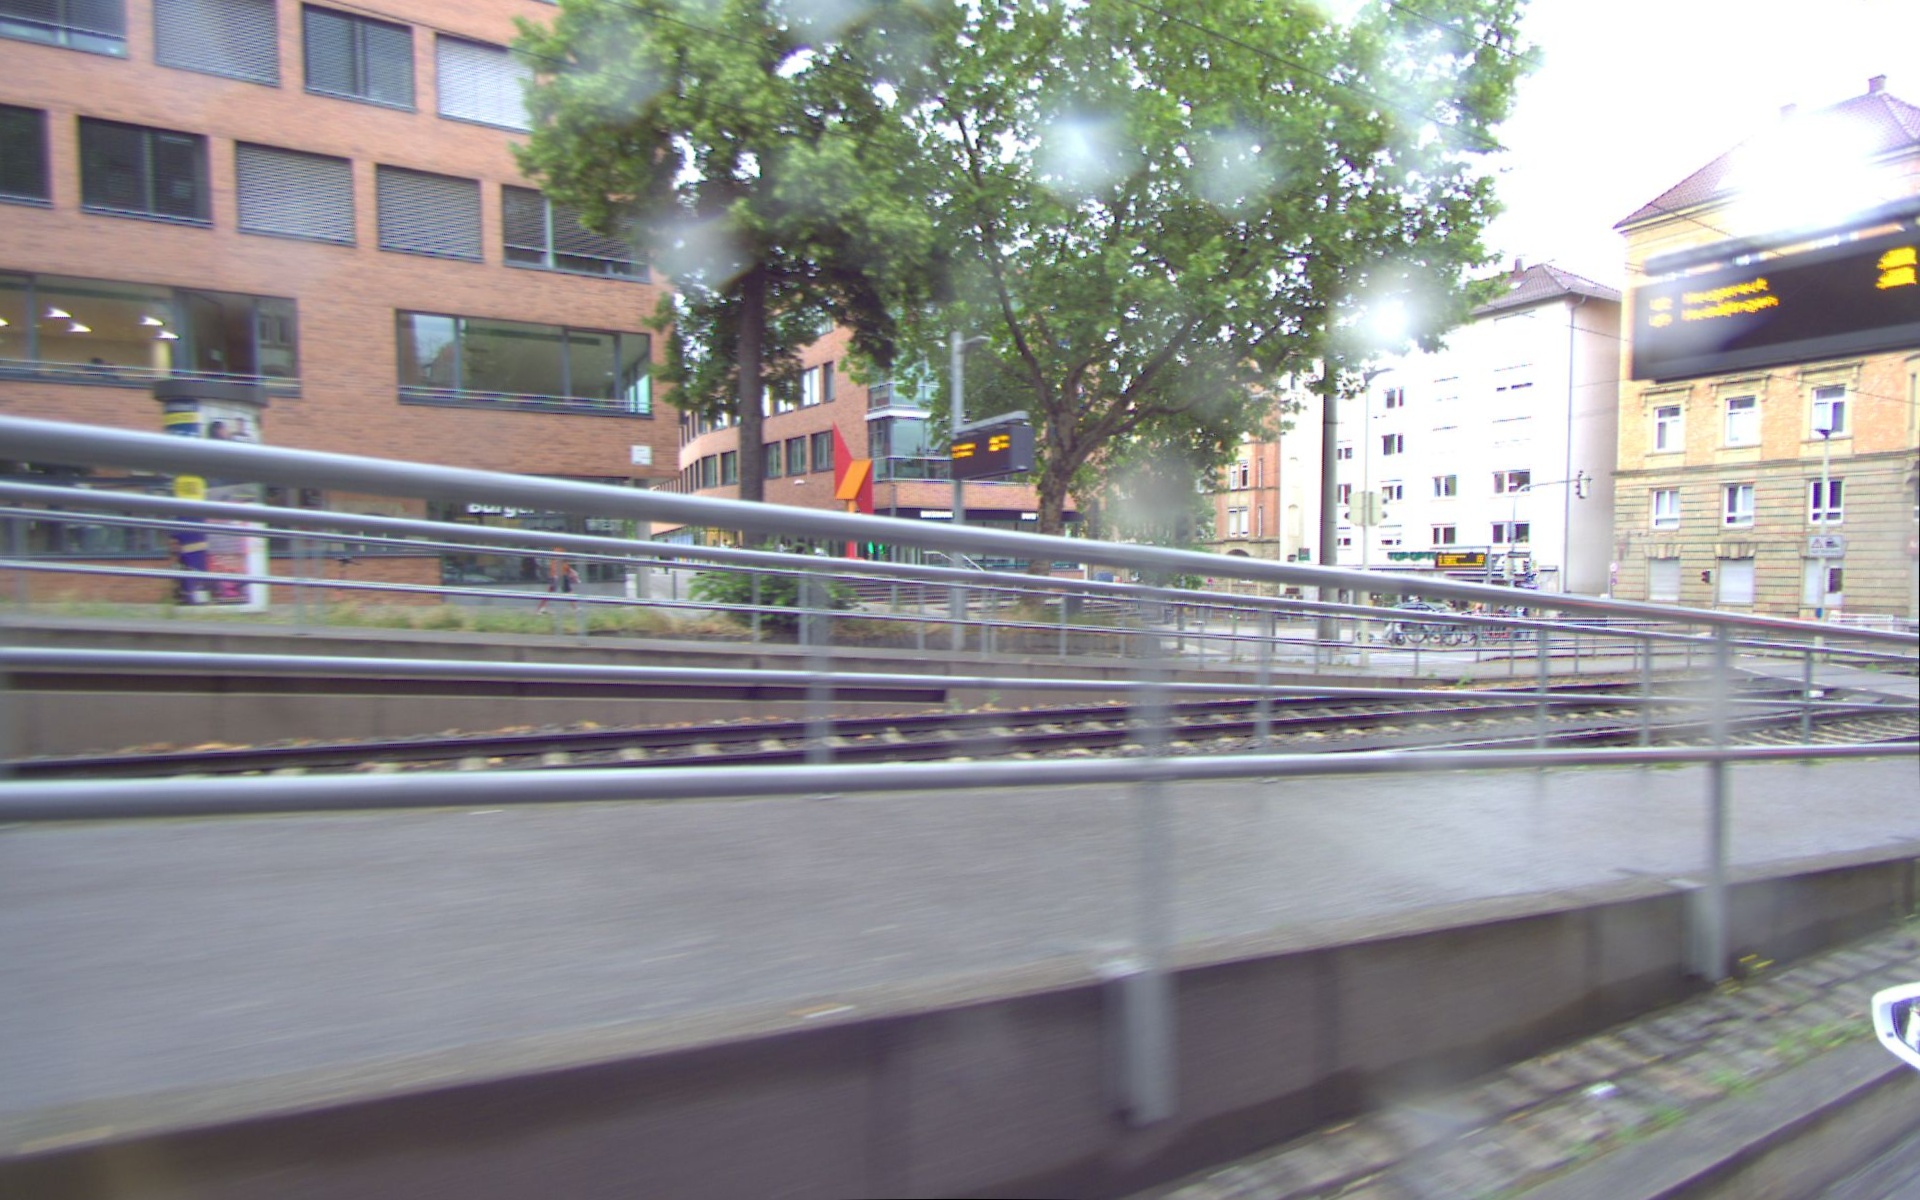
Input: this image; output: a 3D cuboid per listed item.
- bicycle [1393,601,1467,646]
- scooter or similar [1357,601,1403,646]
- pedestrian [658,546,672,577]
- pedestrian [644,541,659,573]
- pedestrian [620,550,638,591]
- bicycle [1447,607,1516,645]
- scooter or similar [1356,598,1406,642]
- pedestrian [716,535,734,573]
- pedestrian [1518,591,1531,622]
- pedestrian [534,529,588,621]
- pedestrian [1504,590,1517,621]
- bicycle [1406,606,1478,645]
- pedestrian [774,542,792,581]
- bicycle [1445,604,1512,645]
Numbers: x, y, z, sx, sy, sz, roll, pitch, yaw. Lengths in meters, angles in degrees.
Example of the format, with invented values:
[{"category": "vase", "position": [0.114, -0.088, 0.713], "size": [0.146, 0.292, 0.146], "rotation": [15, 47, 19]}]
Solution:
[{"category": "bicycle", "position": [13.540, 0.669, 28.976], "size": [0.513, 1.211, 1.855], "rotation": [0, 1, -39]}, {"category": "scooter or similar", "position": [11.686, 0.650, 27.964], "size": [1.089, 1.211, 0.362], "rotation": [2, 1, 11]}, {"category": "pedestrian", "position": [-19.514, -2.538, 66.384], "size": [0.709, 2.041, 0.714], "rotation": [1, 2, -33]}, {"category": "pedestrian", "position": [-20.220, -2.790, 65.852], "size": [0.710, 2.041, 0.714], "rotation": [0, 1, -34]}, {"category": "pedestrian", "position": [-16.819, -1.486, 51.071], "size": [0.710, 2.041, 0.714], "rotation": [0, 1, -33]}, {"category": "bicycle", "position": [16.303, 0.798, 31.433], "size": [0.513, 1.079, 1.855], "rotation": [0, 1, -39]}, {"category": "scooter or similar", "position": [11.961, 0.563, 28.565], "size": [1.226, 1.211, 0.299], "rotation": [2, 1, 11]}, {"category": "pedestrian", "position": [-13.104, -2.562, 56.007], "size": [0.710, 2.041, 0.714], "rotation": [0, 1, -33]}, {"category": "pedestrian", "position": [30.771, 0.353, 54.771], "size": [0.508, 1.644, 0.486], "rotation": [2, 1, 22]}, {"category": "pedestrian", "position": [-9.065, -0.562, 22.832], "size": [0.971, 2.041, 0.727], "rotation": [0, 2, -37]}, {"category": "pedestrian", "position": [30.318, 0.298, 55.298], "size": [0.508, 1.644, 0.486], "rotation": [2, 1, 22]}, {"category": "bicycle", "position": [14.230, 0.738, 29.682], "size": [0.513, 1.076, 1.855], "rotation": [0, 1, -40]}, {"category": "pedestrian", "position": [-9.497, -2.052, 54.036], "size": [0.710, 2.041, 0.714], "rotation": [0, 1, -33]}, {"category": "bicycle", "position": [15.920, 0.745, 30.851], "size": [0.513, 1.158, 1.752], "rotation": [0, 1, -39]}]
